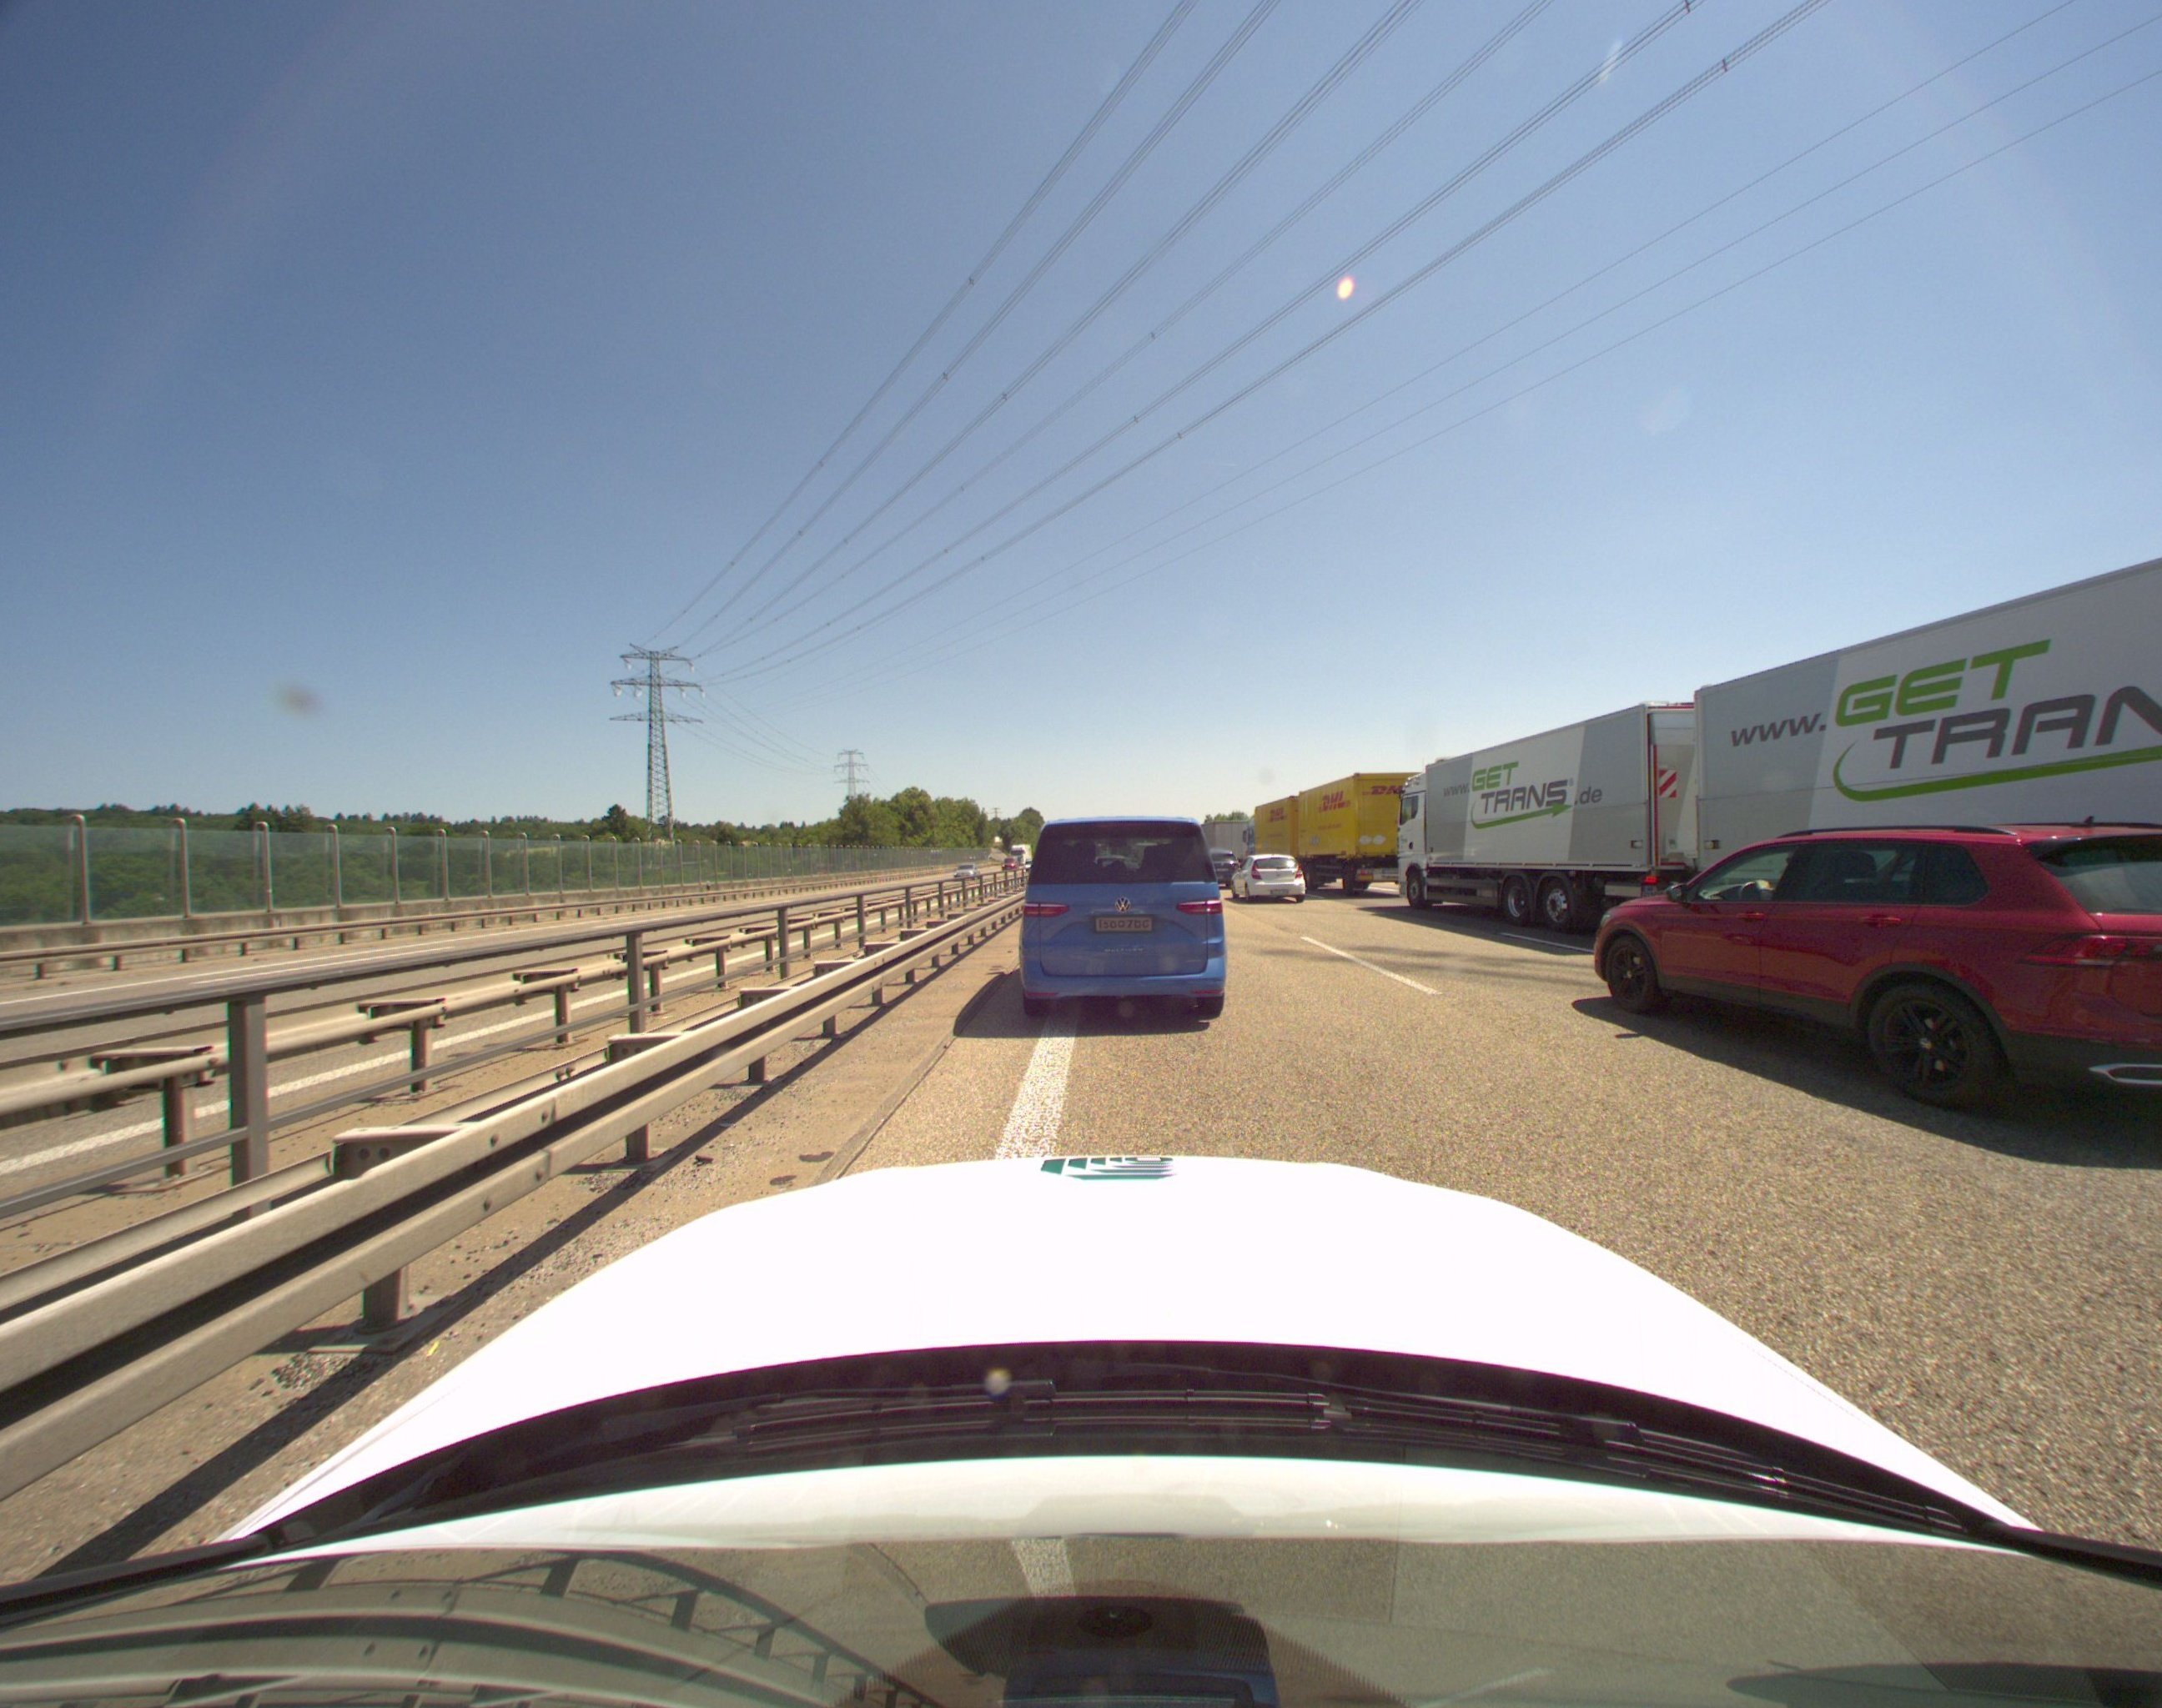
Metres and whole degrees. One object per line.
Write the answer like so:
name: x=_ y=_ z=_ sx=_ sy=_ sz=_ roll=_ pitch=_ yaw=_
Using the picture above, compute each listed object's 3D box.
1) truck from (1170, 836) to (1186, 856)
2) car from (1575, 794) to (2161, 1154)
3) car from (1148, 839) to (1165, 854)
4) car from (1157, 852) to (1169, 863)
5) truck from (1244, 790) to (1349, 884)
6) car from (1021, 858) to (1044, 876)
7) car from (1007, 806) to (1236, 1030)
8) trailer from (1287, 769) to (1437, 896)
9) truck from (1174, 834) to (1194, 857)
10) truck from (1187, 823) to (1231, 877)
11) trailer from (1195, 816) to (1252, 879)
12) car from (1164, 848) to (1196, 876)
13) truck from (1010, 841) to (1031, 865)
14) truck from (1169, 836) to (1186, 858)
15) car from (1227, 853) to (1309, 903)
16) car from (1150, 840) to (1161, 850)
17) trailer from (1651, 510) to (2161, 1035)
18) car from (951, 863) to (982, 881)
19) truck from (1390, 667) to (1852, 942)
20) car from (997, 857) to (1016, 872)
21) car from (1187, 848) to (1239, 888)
truck: x=12.465 y=-1.001 z=104.996 sx=1.790 sy=2.596 sz=4.308 roll=0 pitch=-1 yaw=2
car: x=5.695 y=0.576 z=5.937 sx=1.702 sy=1.679 sz=4.286 roll=-1 pitch=-1 yaw=2
car: x=9.397 y=-0.915 z=101.460 sx=1.912 sy=1.706 sz=4.002 roll=0 pitch=-1 yaw=2
car: x=13.793 y=0.574 z=137.307 sx=1.790 sy=1.751 sz=3.945 roll=0 pitch=-1 yaw=2
truck: x=10.343 y=-0.688 z=40.276 sx=2.690 sy=4.088 sz=9.941 roll=0 pitch=-1 yaw=1
car: x=-4.878 y=1.311 z=82.429 sx=1.865 sy=1.530 sz=3.609 roll=-7 pitch=-1 yaw=1
car: x=0.412 y=0.562 z=8.868 sx=1.923 sy=1.874 sz=4.002 roll=0 pitch=-1 yaw=2
trailer: x=10.229 y=-0.638 z=30.817 sx=2.673 sy=4.088 sz=8.981 roll=0 pitch=-1 yaw=1
truck: x=11.424 y=-0.876 z=90.700 sx=1.791 sy=2.449 sz=4.506 roll=0 pitch=-1 yaw=2
truck: x=11.531 y=-0.297 z=74.079 sx=3.014 sy=4.611 sz=7.925 roll=0 pitch=-1 yaw=2
trailer: x=11.108 y=-0.409 z=64.657 sx=3.014 sy=4.611 sz=10.931 roll=0 pitch=-1 yaw=2
car: x=7.002 y=0.567 z=58.021 sx=1.955 sy=1.936 sz=3.934 roll=0 pitch=-1 yaw=2
truck: x=-11.466 y=-0.072 z=154.871 sx=2.917 sy=4.293 sz=6.863 roll=-4 pitch=-1 yaw=3
truck: x=11.725 y=-0.863 z=99.543 sx=1.735 sy=2.549 sz=4.212 roll=0 pitch=-1 yaw=2
car: x=5.911 y=0.726 z=26.199 sx=1.809 sy=1.470 sz=3.932 roll=0 pitch=-1 yaw=1
car: x=14.133 y=-1.769 z=155.026 sx=1.790 sy=1.751 sz=3.945 roll=0 pitch=-1 yaw=2
trailer: x=9.507 y=-0.592 z=7.526 sx=2.888 sy=3.891 sz=8.217 roll=0 pitch=-1 yaw=2
car: x=-9.959 y=1.526 z=70.903 sx=1.865 sy=1.442 sz=4.386 roll=-3 pitch=-1 yaw=1
truck: x=9.739 y=-0.652 z=16.980 sx=2.841 sy=3.934 sz=10.613 roll=0 pitch=-1 yaw=2
car: x=-9.361 y=1.316 z=102.446 sx=1.833 sy=1.822 sz=4.748 roll=-2 pitch=-1 yaw=1
car: x=5.826 y=0.629 z=36.248 sx=1.808 sy=1.679 sz=3.934 roll=0 pitch=-1 yaw=2
